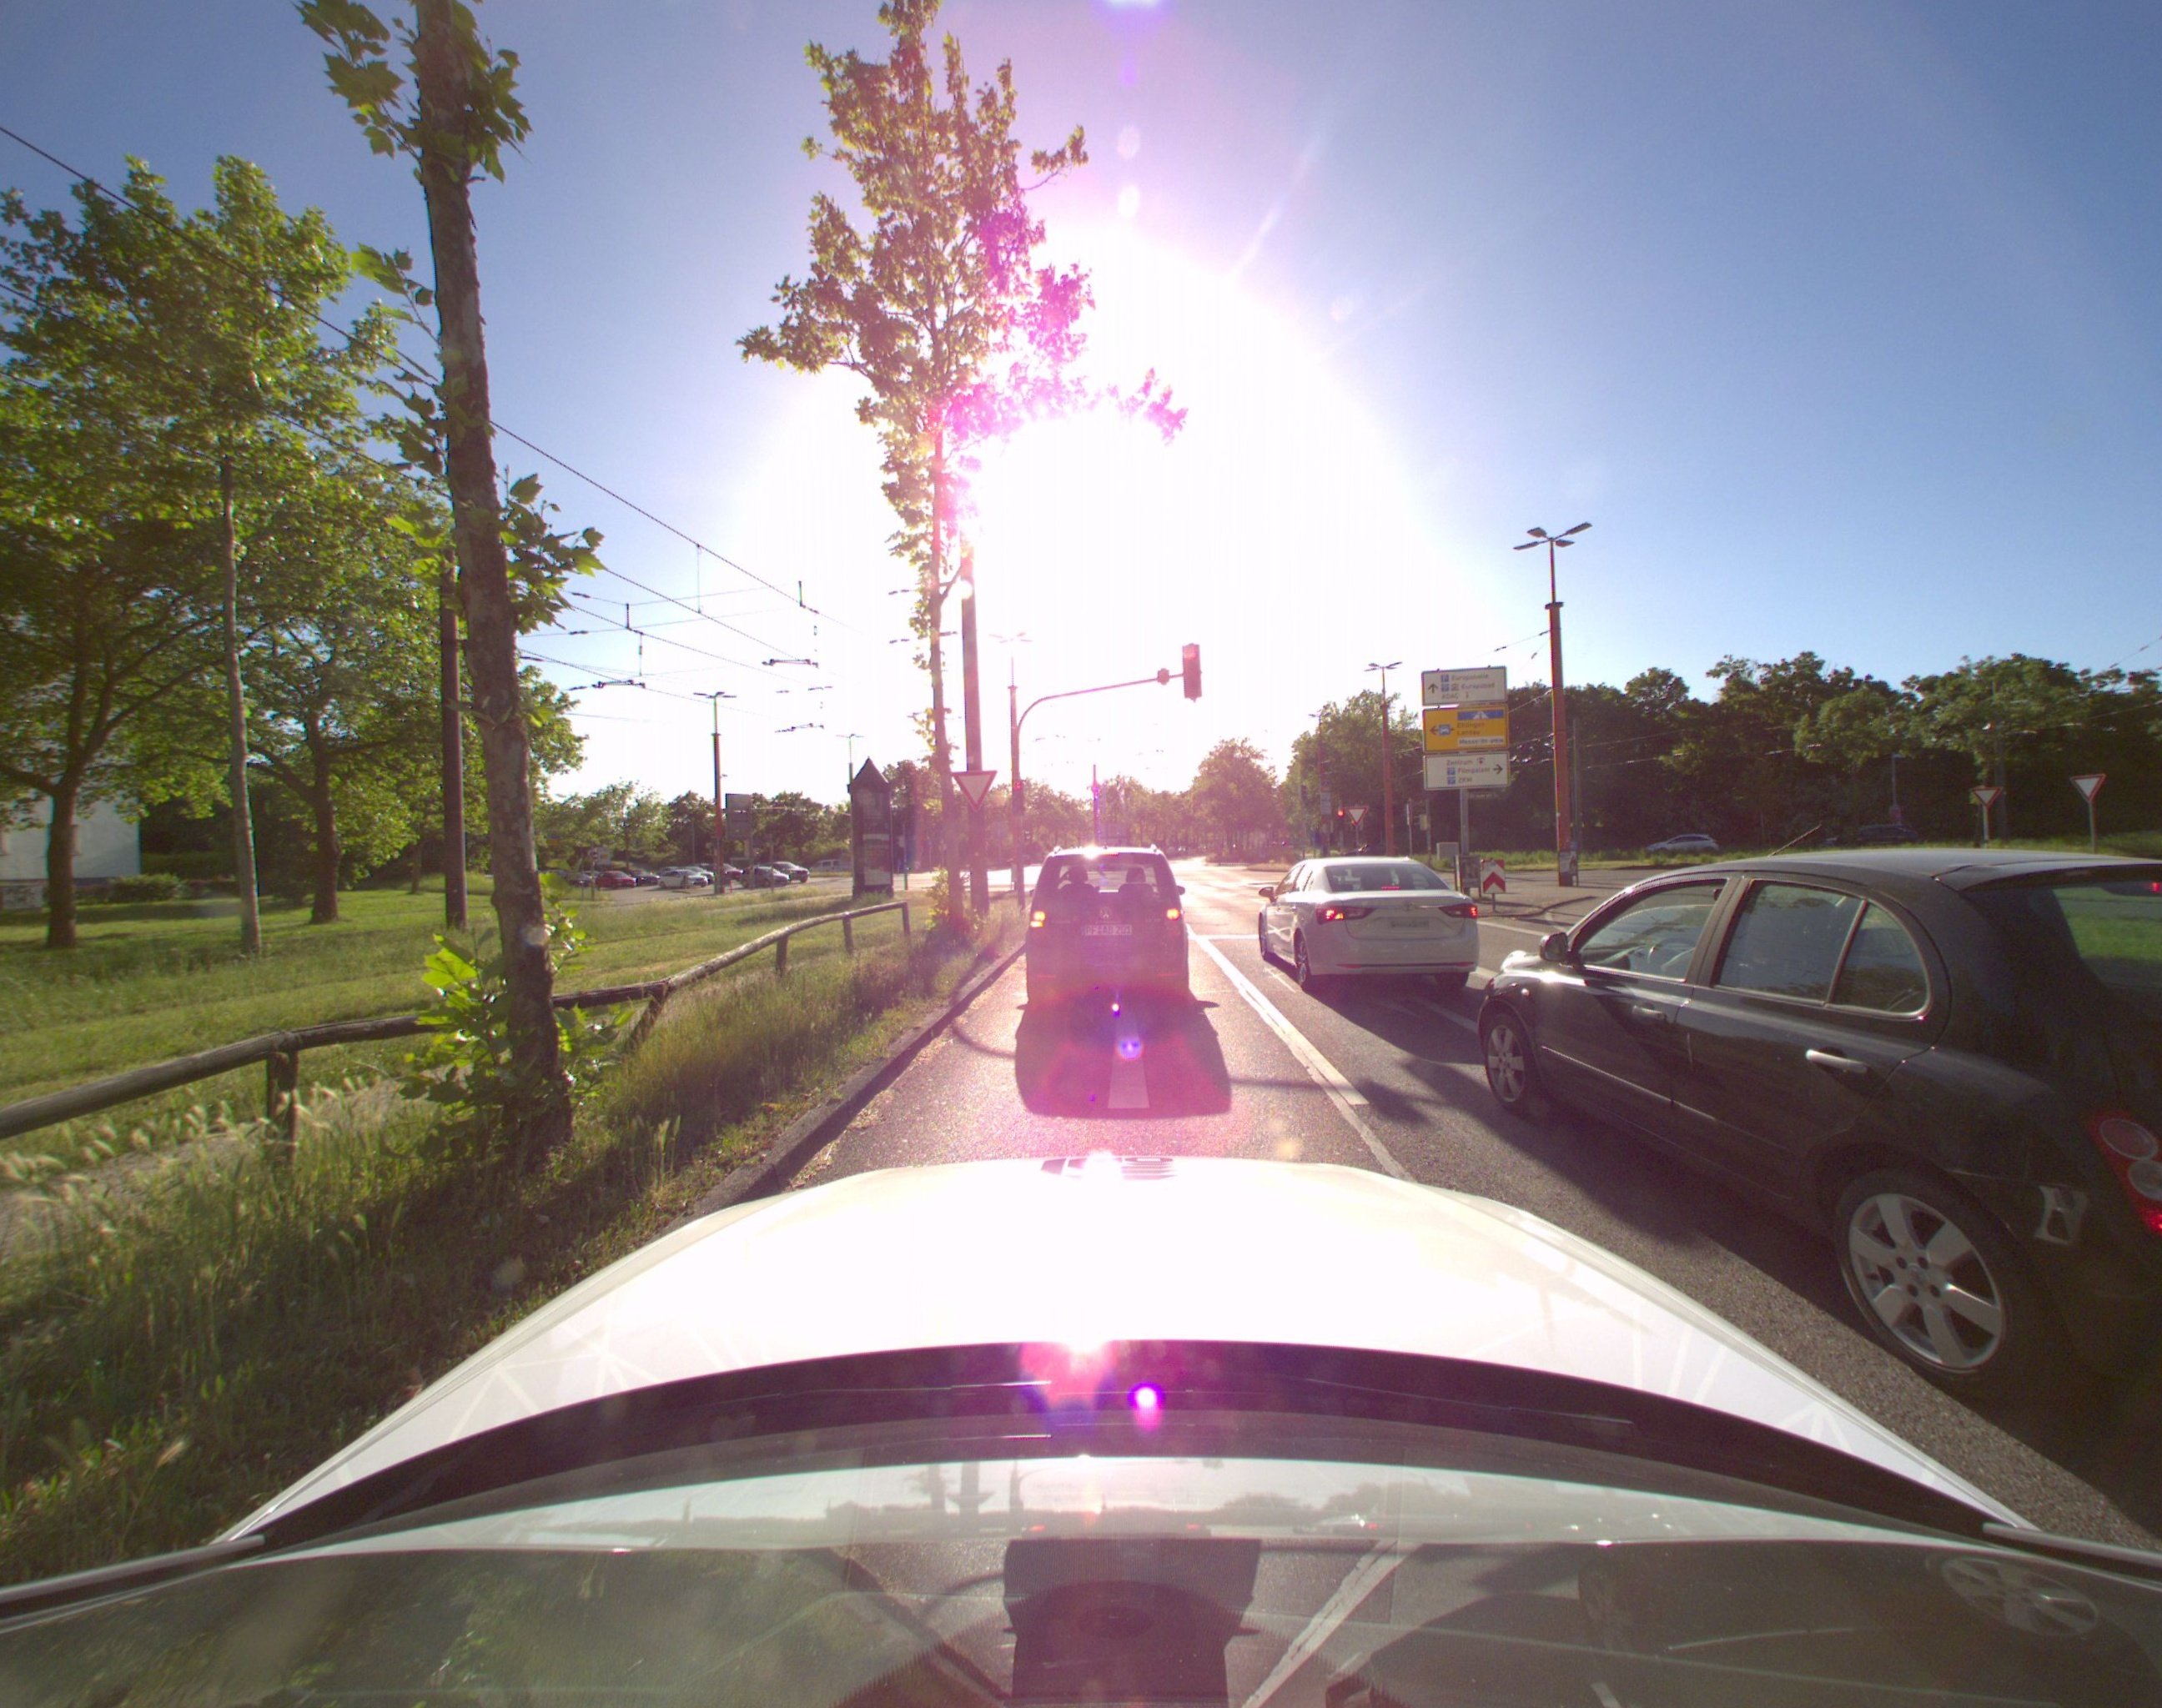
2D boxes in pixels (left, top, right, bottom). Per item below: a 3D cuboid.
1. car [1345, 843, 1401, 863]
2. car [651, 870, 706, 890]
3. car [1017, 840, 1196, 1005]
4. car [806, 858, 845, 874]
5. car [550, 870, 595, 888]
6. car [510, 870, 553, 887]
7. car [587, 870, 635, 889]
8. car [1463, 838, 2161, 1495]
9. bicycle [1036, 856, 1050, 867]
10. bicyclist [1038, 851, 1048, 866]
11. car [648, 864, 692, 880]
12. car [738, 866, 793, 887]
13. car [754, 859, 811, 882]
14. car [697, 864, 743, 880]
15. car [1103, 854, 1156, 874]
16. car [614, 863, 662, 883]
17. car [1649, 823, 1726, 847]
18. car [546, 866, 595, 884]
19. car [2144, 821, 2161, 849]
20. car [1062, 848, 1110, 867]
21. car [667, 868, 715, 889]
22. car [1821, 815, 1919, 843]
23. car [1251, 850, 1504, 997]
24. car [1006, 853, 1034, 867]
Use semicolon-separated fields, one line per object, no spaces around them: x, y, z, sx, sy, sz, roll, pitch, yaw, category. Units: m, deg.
22.726;-0.062;63.402;3.877;1.457;1.667;-1;0;28;car
-31.710;2.056;64.148;4.577;1.520;1.667;-1;0;32;car
0.362;0.686;10.088;1.731;1.602;4.329;0;-1;3;car
-28.737;1.366;91.480;4.081;1.750;1.666;-1;0;24;car
-44.839;2.215;71.753;4.145;1.520;1.667;-1;0;32;car
-51.008;2.249;75.572;4.145;1.520;1.667;-1;0;32;car
-39.409;2.148;68.231;4.145;1.520;1.667;-1;0;32;car
3.176;0.692;3.494;1.570;1.440;3.443;0;-1;2;car
-5.055;0.976;107.569;0.969;1.388;2.991;-2;0;15;bicycle
-5.053;0.623;107.611;0.969;1.904;1.055;-2;0;14;bicyclist
-38.202;1.667;75.710;4.102;1.415;1.553;-1;0;28;car
-22.895;1.612;59.010;3.793;1.441;1.667;-1;0;29;car
-23.323;1.294;63.528;4.583;1.647;1.667;-1;0;32;car
-31.980;1.592;72.081;4.102;1.415;1.553;-1;0;28;car
4.096;0.858;69.376;4.164;1.681;1.666;-1;0;26;car
-39.692;1.712;72.956;4.583;1.647;1.767;-1;0;32;car
40.110;-1.216;53.943;3.877;1.457;1.667;-1;0;28;car
-48.935;1.991;78.045;4.585;1.647;1.767;-1;0;26;car
59.230;-1.053;42.581;4.095;1.510;1.667;-1;0;30;car
0.469;0.360;75.852;4.164;1.681;1.667;-1;0;28;car
-33.004;2.033;68.845;4.285;1.692;1.667;-1;0;34;car
45.521;-1.405;47.068;3.755;1.510;1.667;-1;0;30;car
3.369;0.705;10.193;1.792;1.440;4.329;0;0;3;car
-7.717;0.770;103.592;1.636;1.750;4.156;-1;0;25;car
